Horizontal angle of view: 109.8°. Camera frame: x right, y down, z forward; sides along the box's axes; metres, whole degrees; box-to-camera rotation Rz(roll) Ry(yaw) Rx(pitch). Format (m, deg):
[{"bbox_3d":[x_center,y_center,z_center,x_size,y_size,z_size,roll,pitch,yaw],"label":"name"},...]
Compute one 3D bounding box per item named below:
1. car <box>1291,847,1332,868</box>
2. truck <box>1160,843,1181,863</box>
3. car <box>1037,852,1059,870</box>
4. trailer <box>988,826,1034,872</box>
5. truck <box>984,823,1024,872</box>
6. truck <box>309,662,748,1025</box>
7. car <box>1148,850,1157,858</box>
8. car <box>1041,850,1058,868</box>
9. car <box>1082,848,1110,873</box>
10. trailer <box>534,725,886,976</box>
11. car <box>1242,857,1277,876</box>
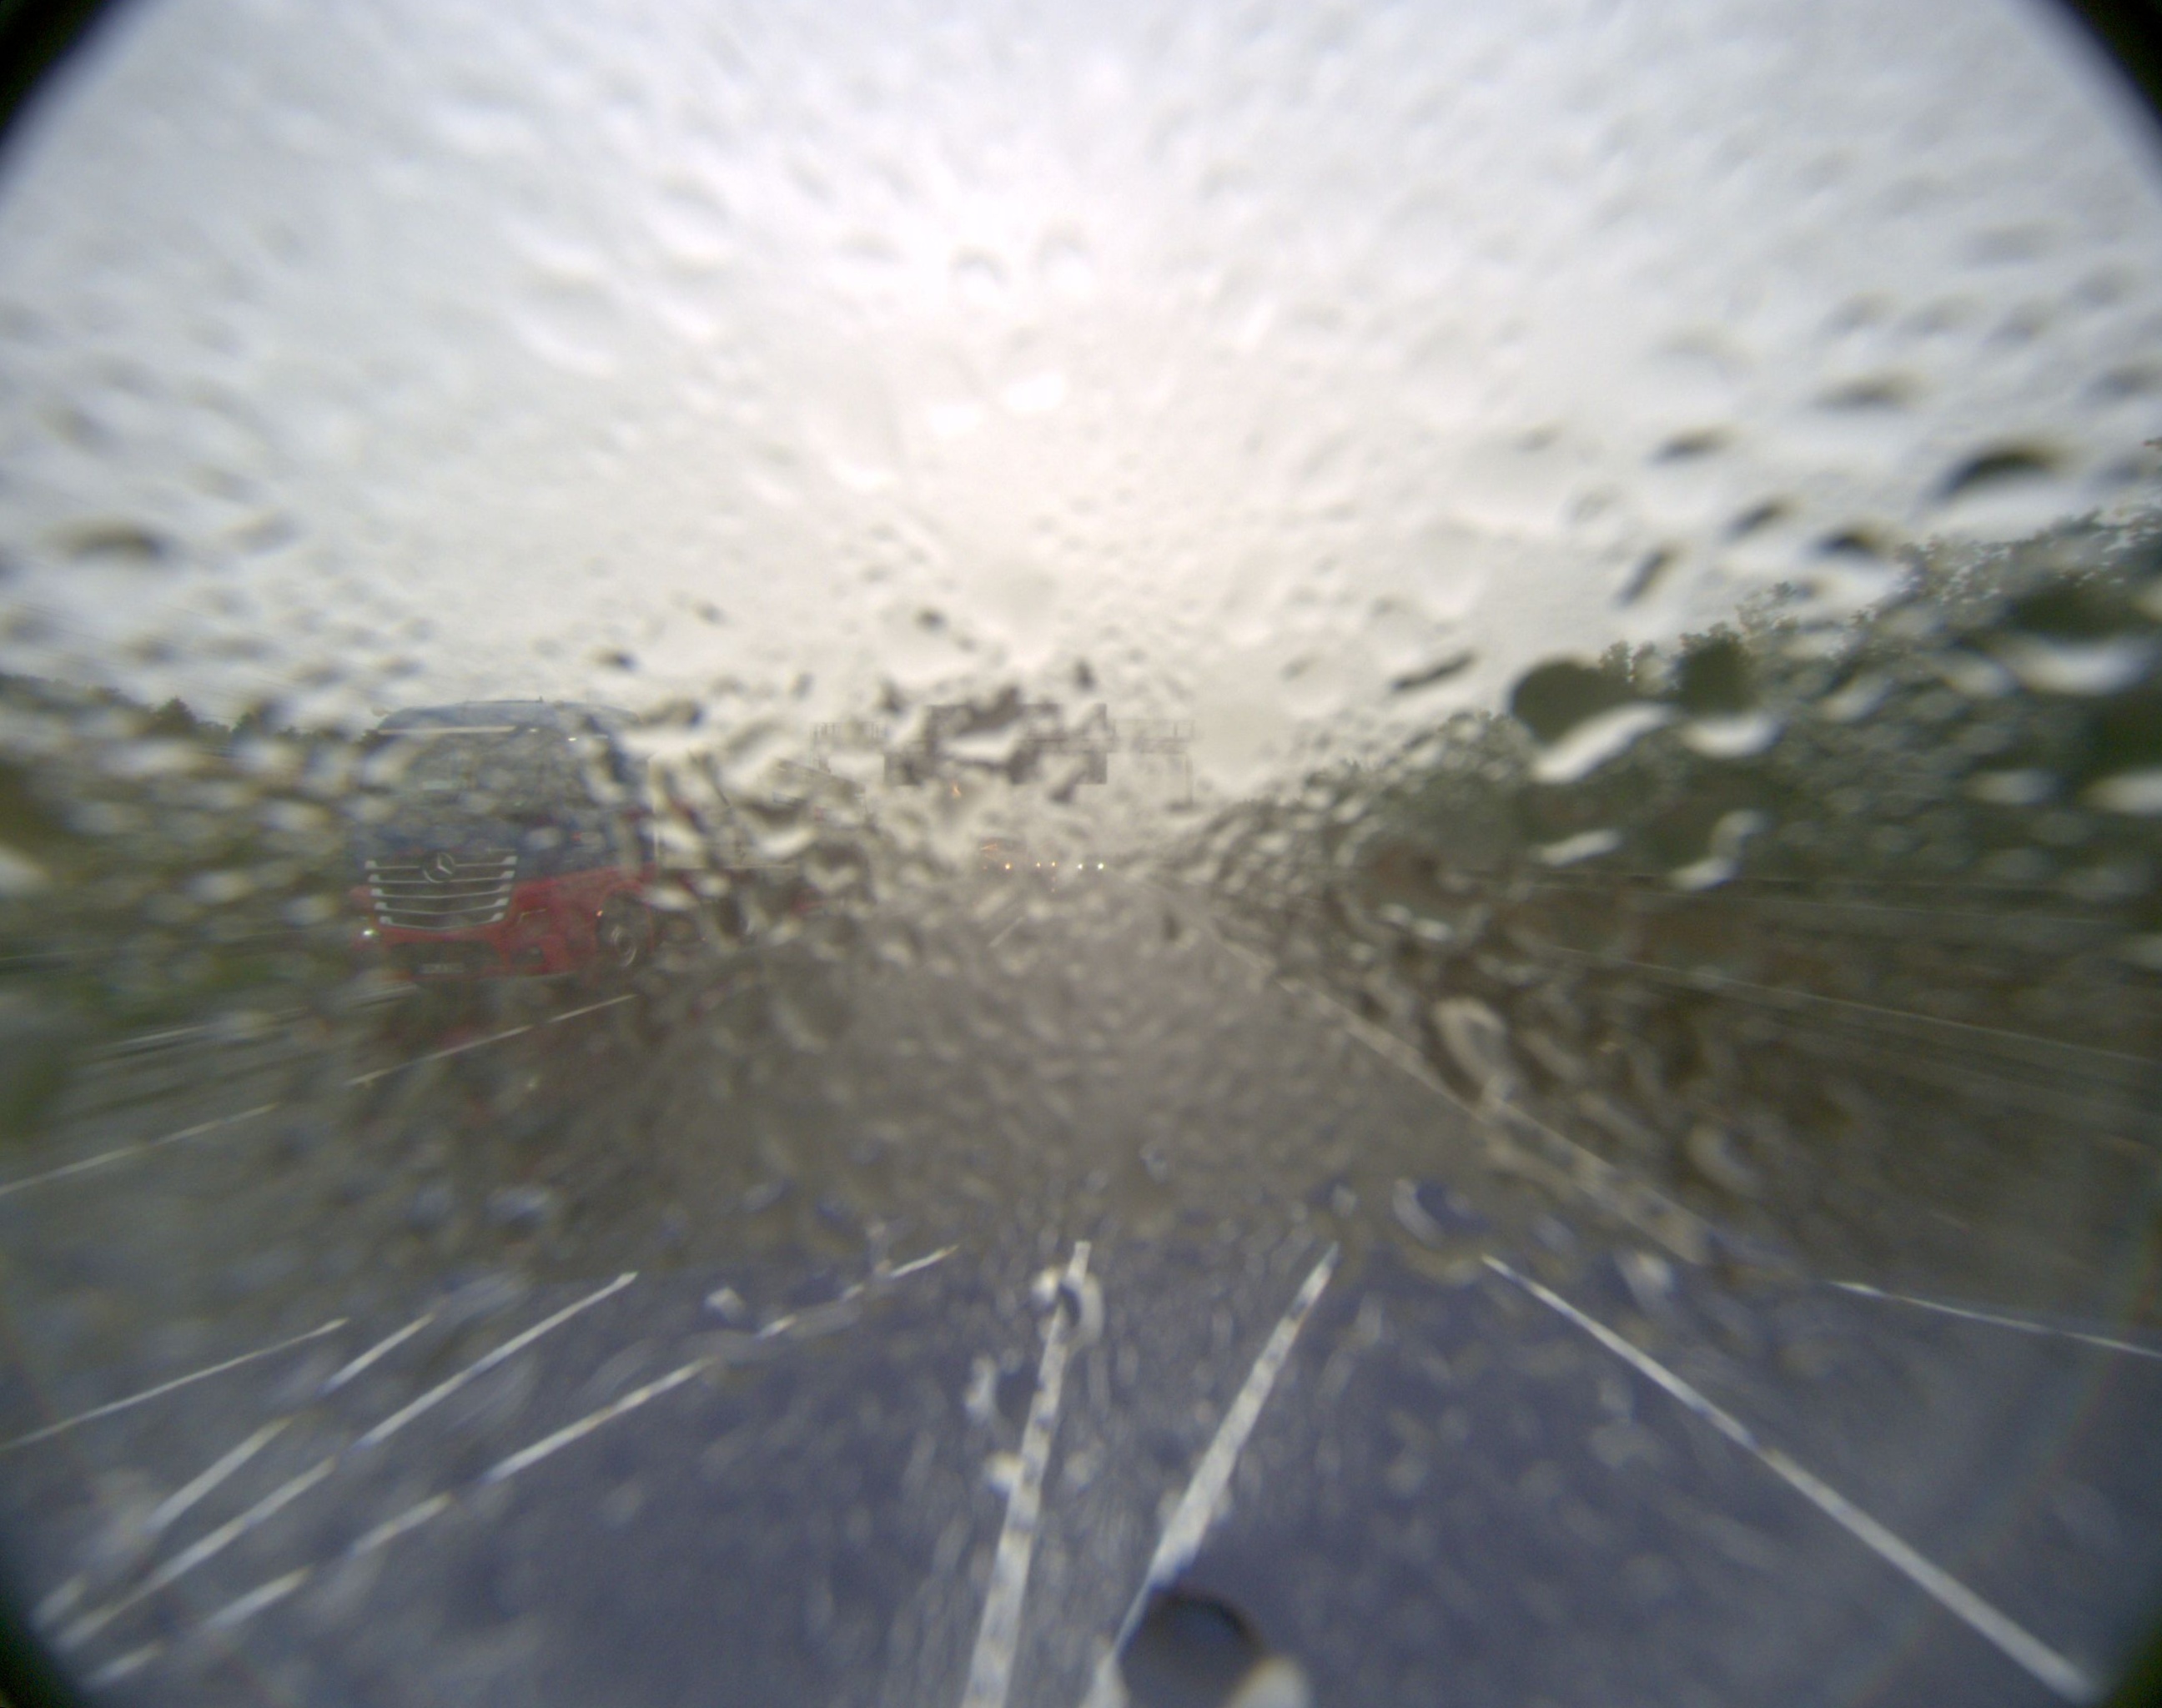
[{"bbox_3d":[20.023,0.329,66.253,1.999,1.652,4.782,-2,-1,0],"label":"car"},{"bbox_3d":[21.964,-0.044,188.355,2.973,4.647,17.100,-2,-1,0],"label":"truck"},{"bbox_3d":[-2.948,0.609,68.333,1.663,1.491,3.837,-2,-1,1],"label":"car"},{"bbox_3d":[-6.354,-0.320,71.906,2.486,3.743,16.546,-2,-1,1],"label":"trailer"},{"bbox_3d":[-6.477,-0.481,64.789,2.457,3.866,6.200,-2,0,1],"label":"truck"},{"bbox_3d":[-7.296,-0.091,11.035,2.503,3.960,5.076,-2,0,0],"label":"truck"},{"bbox_3d":[17.882,0.121,190.479,1.615,1.870,4.000,-2,-1,0],"label":"car"},{"bbox_3d":[-3.050,0.494,73.872,1.517,1.606,3.186,-2,-1,0],"label":"car"},{"bbox_3d":[1.047,0.462,54.882,1.845,1.670,4.000,-2,-1,0],"label":"car"},{"bbox_3d":[-7.243,0.007,17.472,2.503,3.859,11.067,-2,-1,0],"label":"trailer"},{"bbox_3d":[16.324,1.137,69.778,1.999,1.652,4.782,-2,-1,0],"label":"car"}]
